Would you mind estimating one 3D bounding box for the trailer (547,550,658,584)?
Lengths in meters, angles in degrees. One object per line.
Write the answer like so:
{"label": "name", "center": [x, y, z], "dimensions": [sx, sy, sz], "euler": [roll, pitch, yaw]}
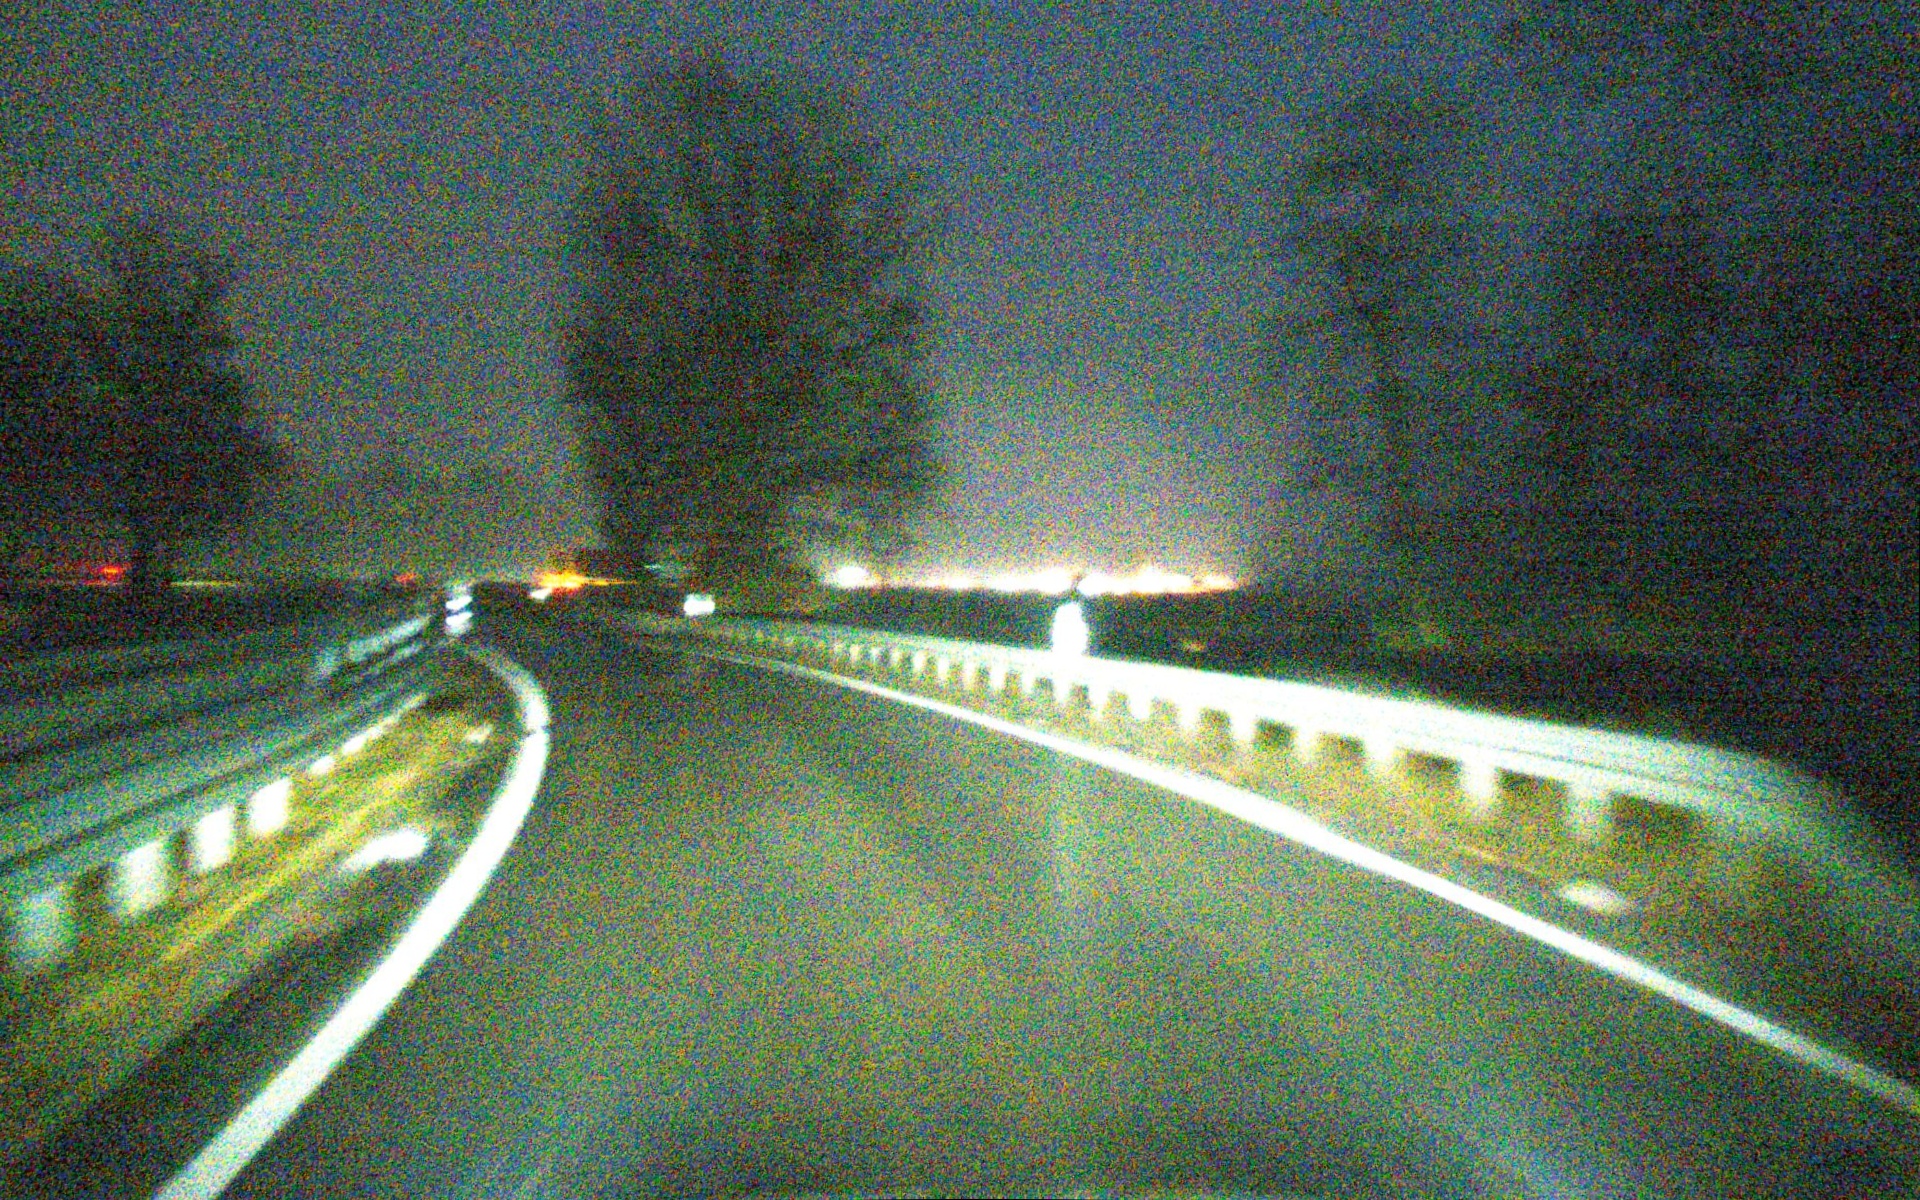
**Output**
{"label": "trailer", "center": [-34.187, -3.157, 159.001], "dimensions": [2.637, 2.746, 12.836], "euler": [3, 1, 29]}
